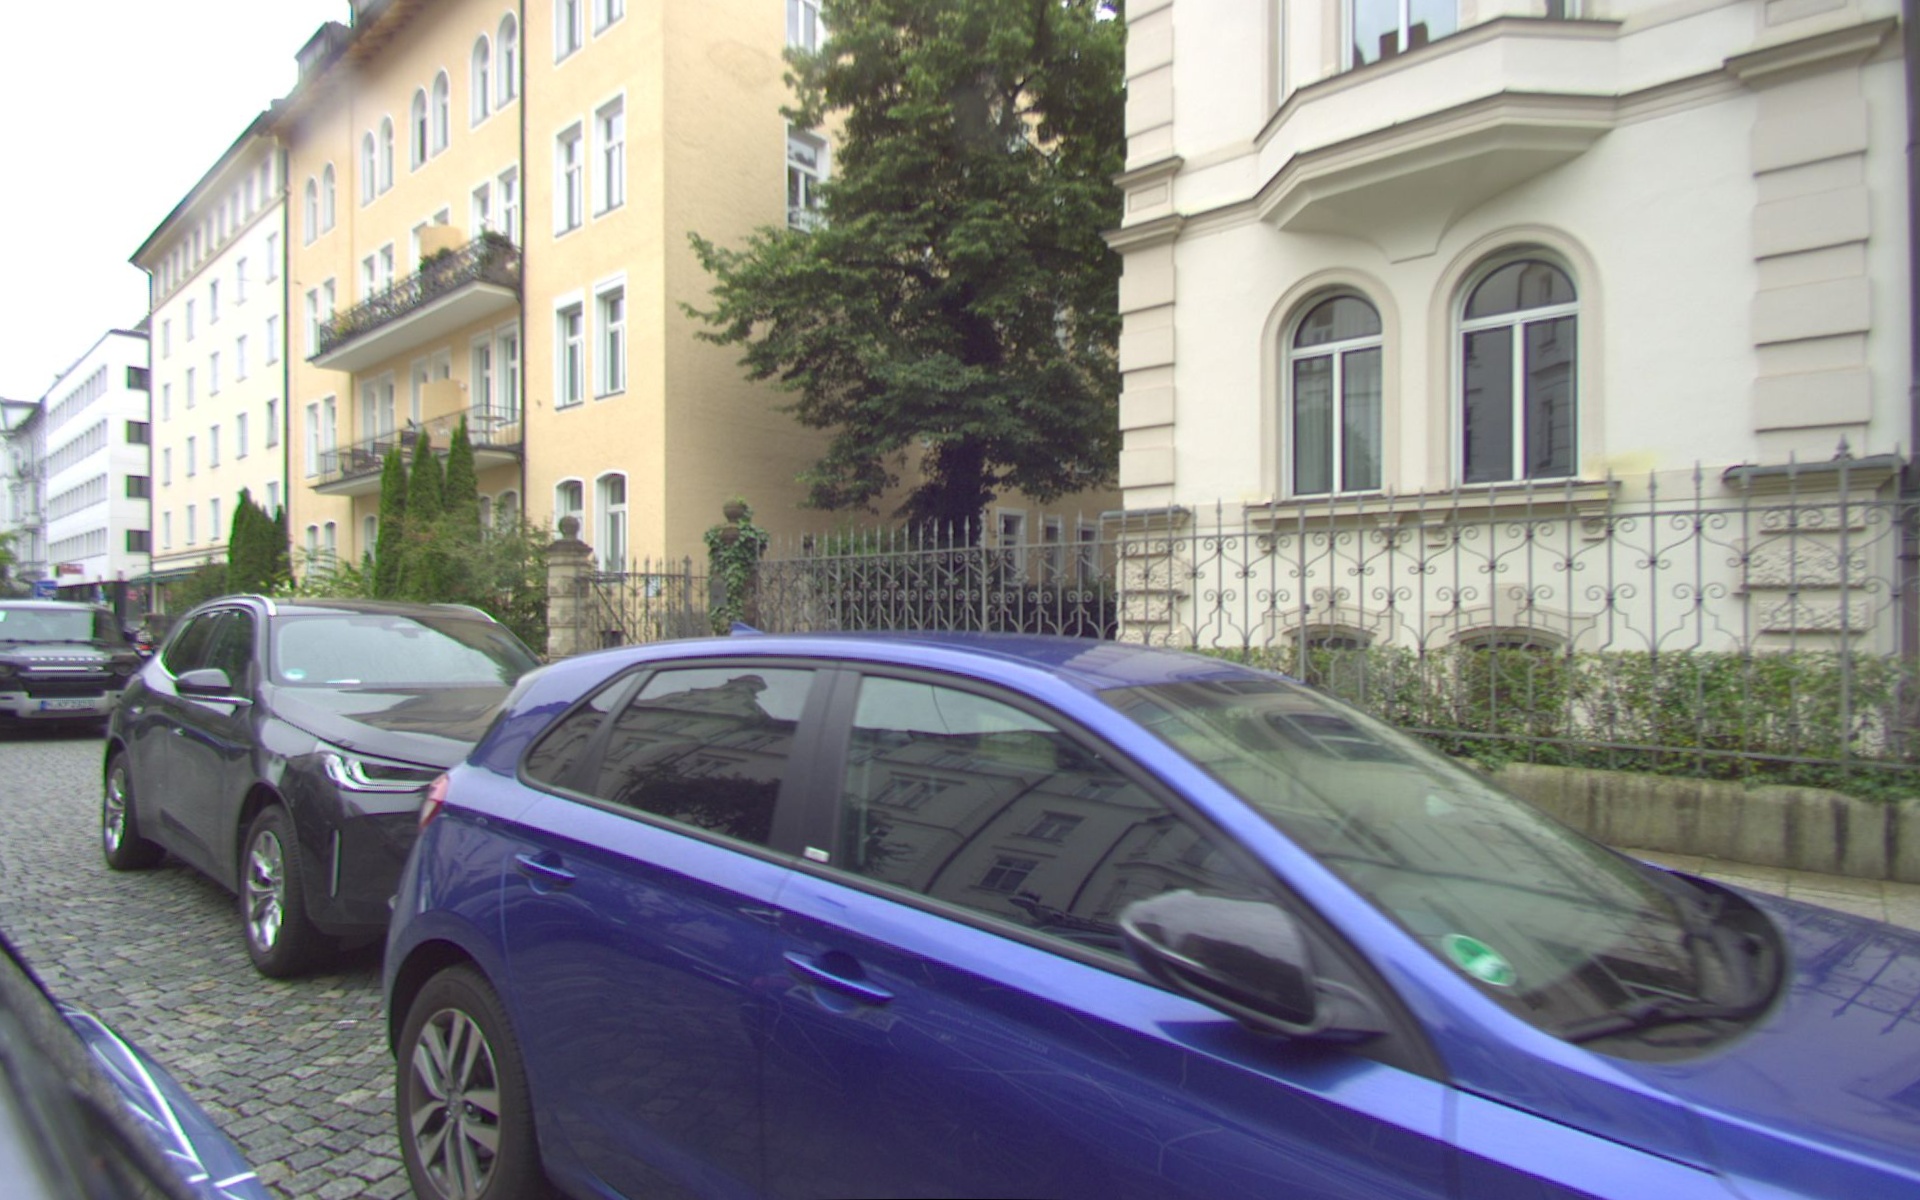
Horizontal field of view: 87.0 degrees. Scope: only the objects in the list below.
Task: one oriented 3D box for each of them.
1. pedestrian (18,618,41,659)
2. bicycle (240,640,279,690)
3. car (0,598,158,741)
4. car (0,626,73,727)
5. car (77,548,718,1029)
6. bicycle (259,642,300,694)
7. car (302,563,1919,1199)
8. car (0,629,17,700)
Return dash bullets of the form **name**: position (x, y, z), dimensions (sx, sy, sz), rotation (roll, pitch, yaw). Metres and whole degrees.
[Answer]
- **pedestrian**: position (-42.230, 1.733, 45.923), dimensions (0.812, 1.854, 0.608), rotation (-1, -1, 35)
- **bicycle**: position (-15.205, 1.395, 21.949), dimensions (1.572, 1.010, 0.348), rotation (-1, -1, 42)
- **car**: position (-13.157, 0.905, 14.418), dimensions (4.721, 1.751, 1.961), rotation (-2, -1, 42)
- **car**: position (-17.125, 1.286, 17.935), dimensions (4.054, 1.602, 1.563), rotation (-1, -3, 41)
- **car**: position (-3.428, 0.696, 5.740), dimensions (4.388, 1.730, 1.756), rotation (-1, 0, 40)
- **bicycle**: position (-13.989, 1.380, 20.797), dimensions (1.572, 1.010, 0.348), rotation (-1, -1, 42)
- **car**: position (0.465, 0.720, 2.034), dimensions (4.055, 1.470, 1.920), rotation (-1, 0, 40)
- **car**: position (-21.937, 1.377, 21.932), dimensions (4.389, 1.440, 1.755), rotation (-1, 0, 41)
